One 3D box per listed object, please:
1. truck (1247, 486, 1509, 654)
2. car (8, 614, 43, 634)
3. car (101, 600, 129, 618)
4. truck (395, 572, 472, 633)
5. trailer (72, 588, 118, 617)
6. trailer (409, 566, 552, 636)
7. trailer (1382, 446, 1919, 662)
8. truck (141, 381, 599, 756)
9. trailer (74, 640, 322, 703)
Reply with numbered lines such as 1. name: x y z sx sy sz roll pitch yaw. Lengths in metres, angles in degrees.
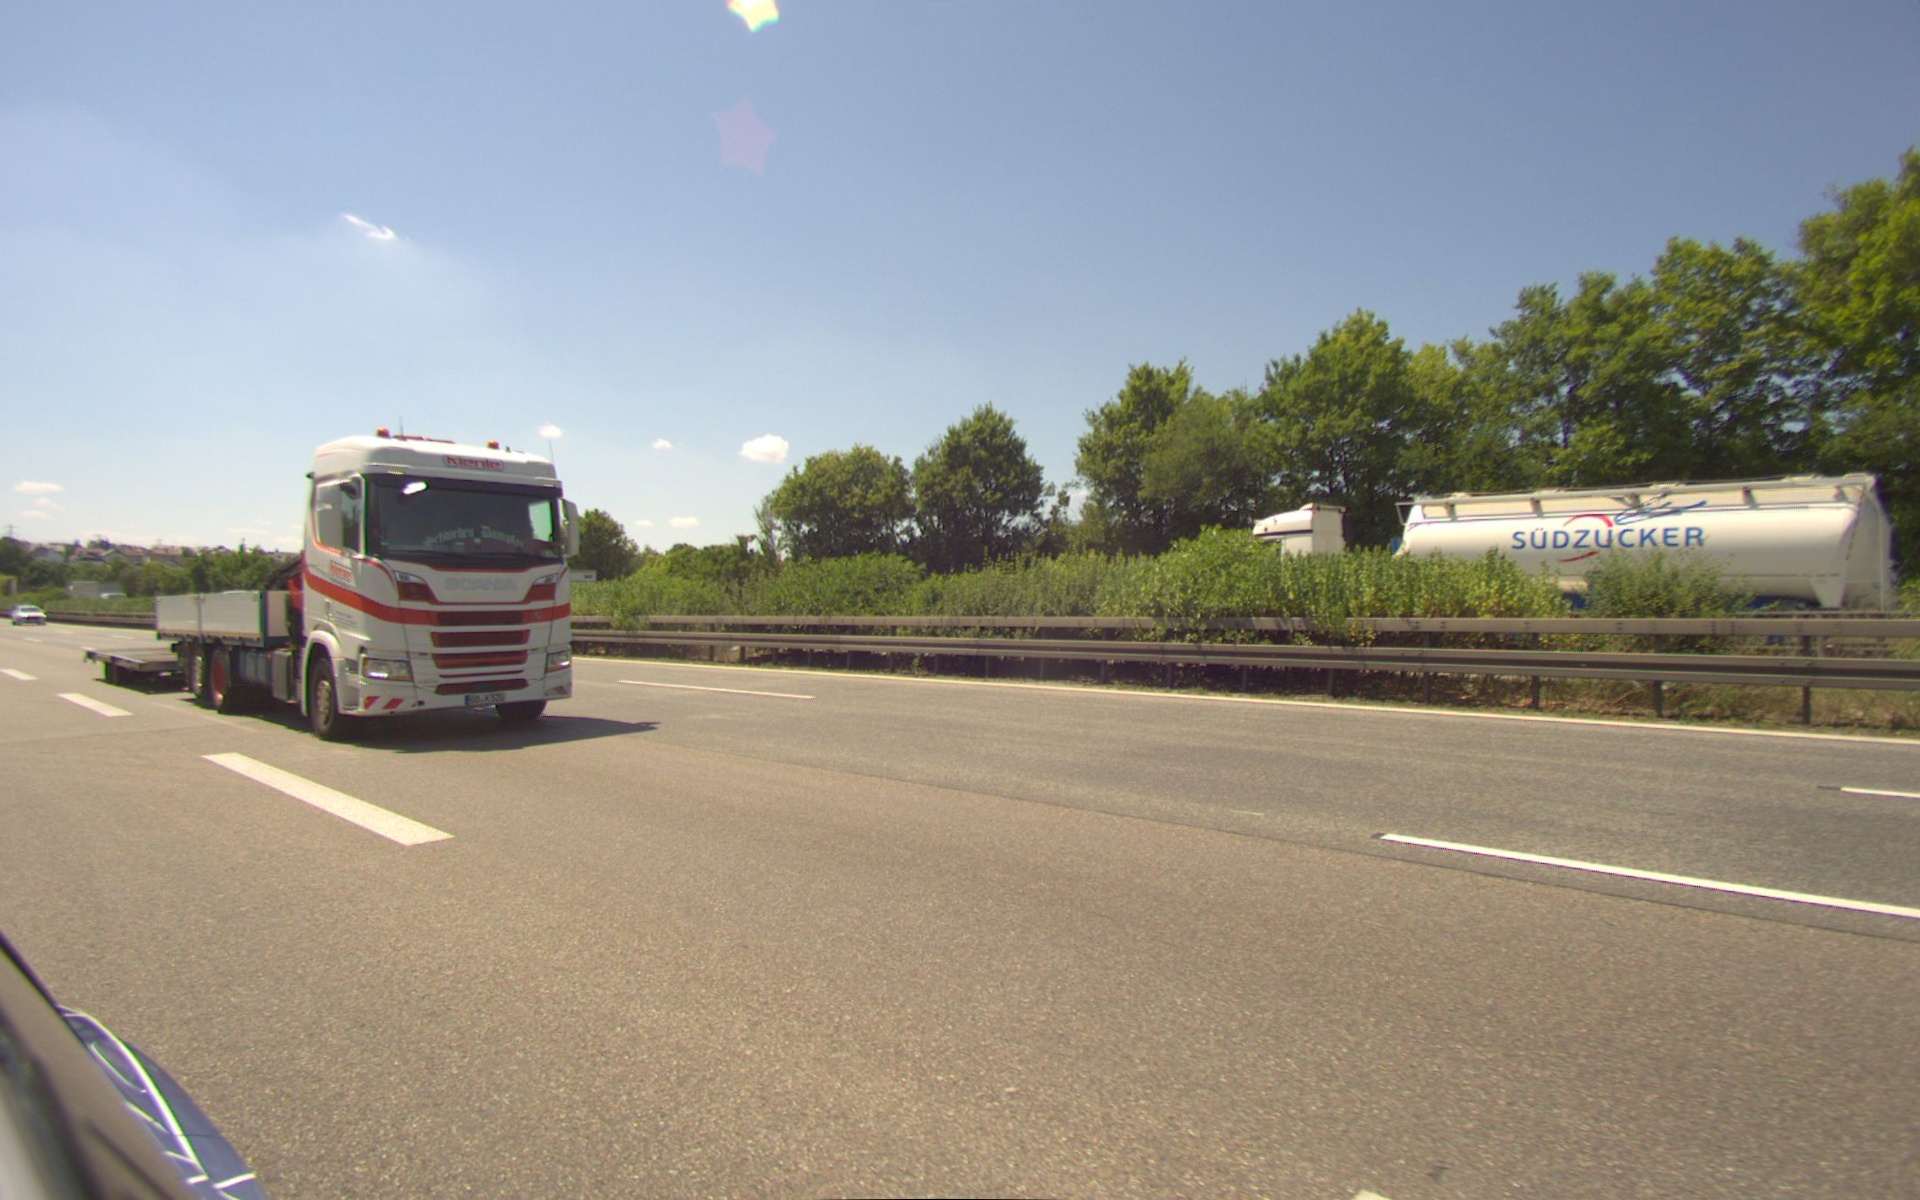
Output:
1. truck: 10.850 -0.666 26.571 5.746 3.918 2.665 -1 -1 44
2. car: -76.899 1.999 83.274 4.000 1.564 1.858 -2 -1 43
3. car: -104.346 1.083 124.955 3.998 2.029 1.973 2 1 40
4. truck: -36.775 0.199 70.621 4.827 4.121 3.297 -1 0 42
5. trailer: -123.942 0.370 144.864 13.705 3.977 2.513 -1 0 39
6. trailer: -31.351 0.110 65.696 13.924 4.121 3.356 -1 0 42
7. trailer: 14.920 -0.764 22.698 9.735 3.918 2.660 -1 -1 44
8. truck: -9.278 -0.226 14.919 10.668 3.831 2.686 -2 -1 42
9. trailer: -16.055 1.379 21.057 7.757 0.941 2.686 -2 -1 42
